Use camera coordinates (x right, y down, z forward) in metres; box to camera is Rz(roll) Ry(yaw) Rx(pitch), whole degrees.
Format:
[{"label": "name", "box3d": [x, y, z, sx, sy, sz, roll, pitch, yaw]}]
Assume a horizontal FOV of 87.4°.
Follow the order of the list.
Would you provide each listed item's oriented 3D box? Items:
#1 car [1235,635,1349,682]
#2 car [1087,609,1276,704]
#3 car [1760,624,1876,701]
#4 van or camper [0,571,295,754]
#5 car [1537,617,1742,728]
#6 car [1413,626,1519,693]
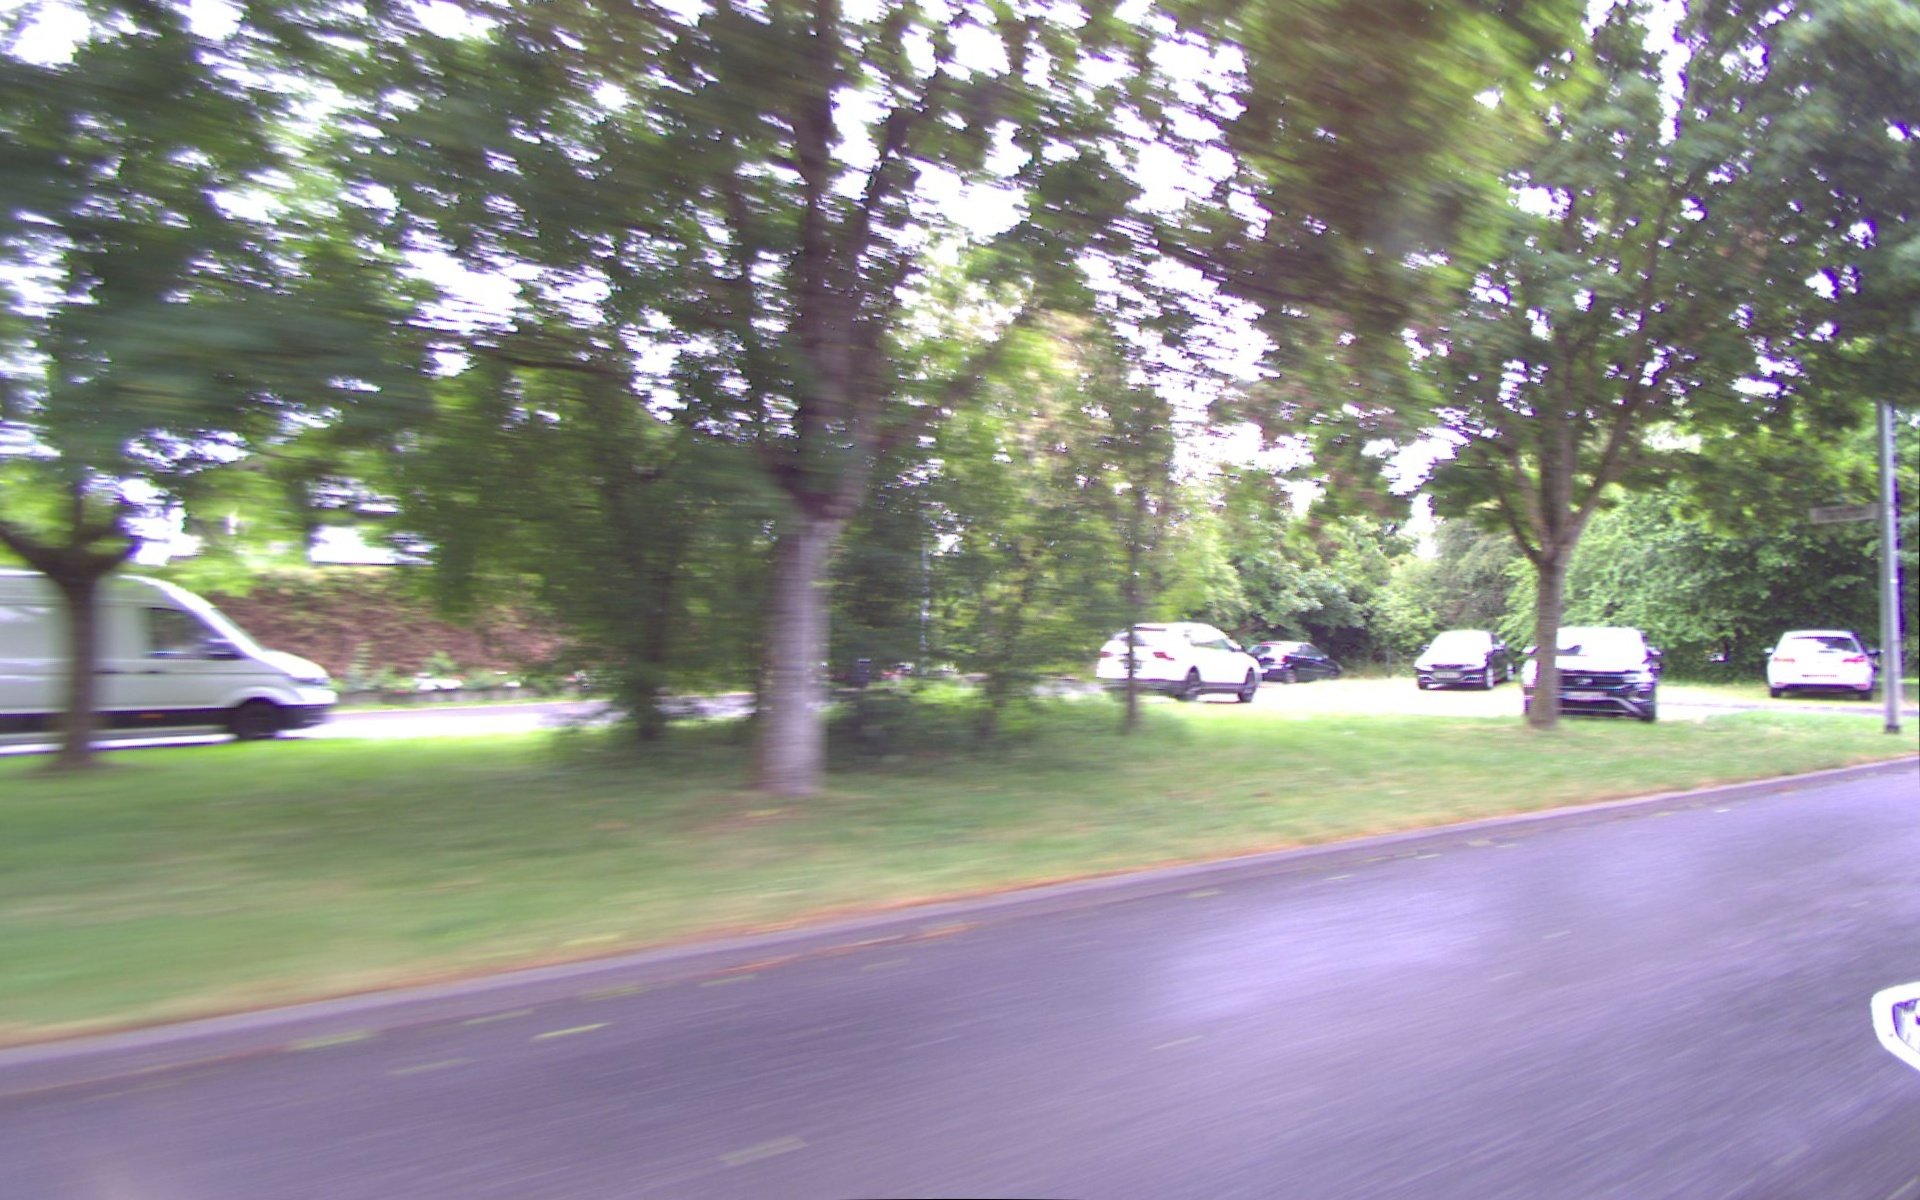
[{"label": "car", "box3d": [10.983, 1.883, 33.096, 4.187, 1.429, 1.817, 2, -3, -43]}, {"label": "car", "box3d": [4.832, 1.228, 21.362, 1.881, 1.793, 4.876, -2, -4, 40]}, {"label": "car", "box3d": [19.712, 1.361, 23.047, 1.860, 1.449, 4.193, -2, 0, 42]}, {"label": "van or camper", "box3d": [-12.945, 0.846, 13.883, 6.101, 2.366, 2.073, 1, -3, -39]}, {"label": "car", "box3d": [10.912, 1.061, 16.018, 4.220, 1.534, 1.870, 2, -2, -44]}, {"label": "car", "box3d": [14.036, 1.580, 27.730, 1.838, 1.529, 4.589, -2, 0, 37]}]
